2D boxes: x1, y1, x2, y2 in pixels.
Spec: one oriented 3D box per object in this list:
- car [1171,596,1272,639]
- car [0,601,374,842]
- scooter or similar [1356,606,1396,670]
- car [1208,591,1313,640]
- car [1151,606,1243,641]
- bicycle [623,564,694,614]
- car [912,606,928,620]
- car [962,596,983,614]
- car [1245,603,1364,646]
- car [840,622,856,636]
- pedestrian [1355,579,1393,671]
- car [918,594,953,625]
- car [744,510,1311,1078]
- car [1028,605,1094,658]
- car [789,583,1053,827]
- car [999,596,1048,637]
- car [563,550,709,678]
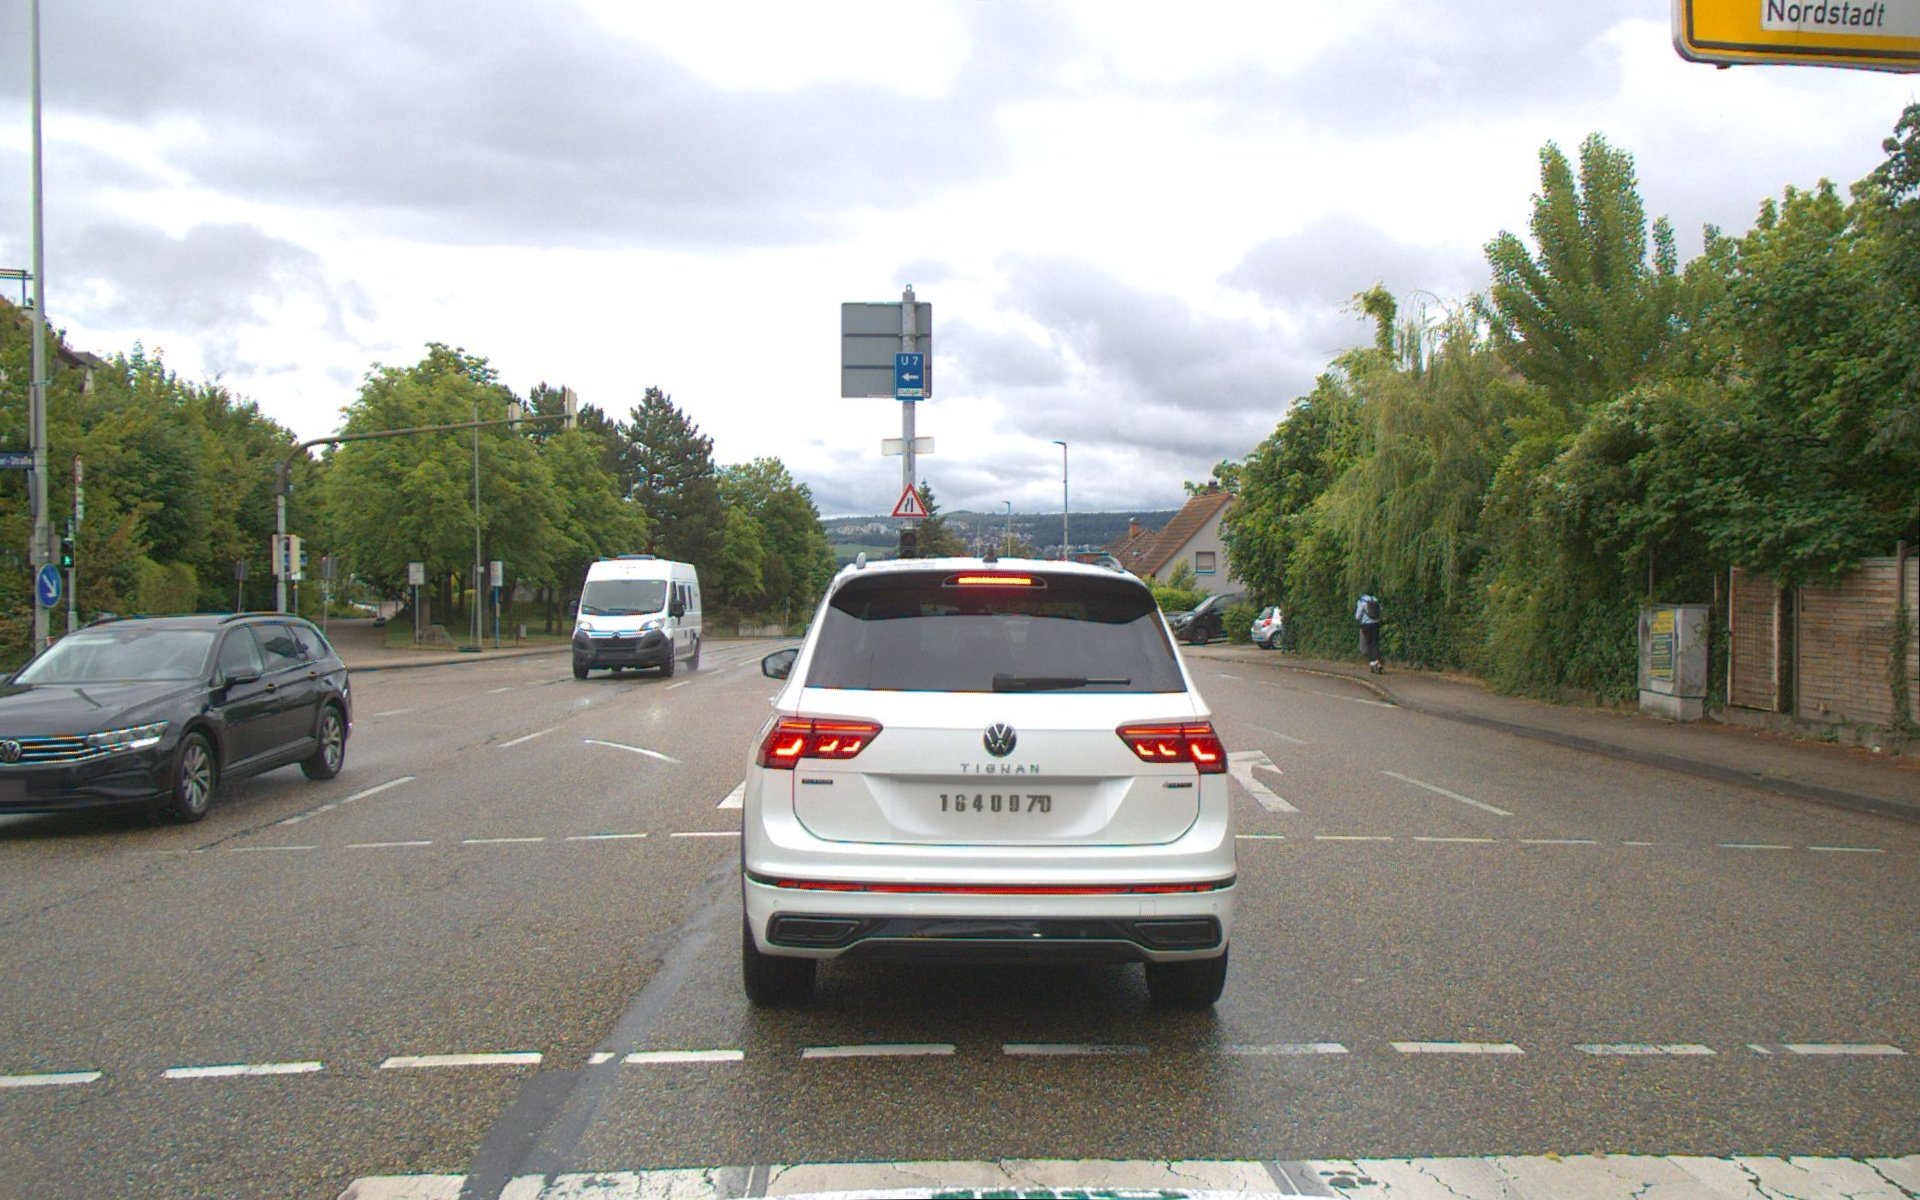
[{"bbox_3d":[10.174,0.675,64.476,3.556,1.654,1.789,0,0,-5],"label":"car"},{"bbox_3d":[-6.292,0.822,13.135,1.740,1.528,4.470,-3,0,-2],"label":"car"},{"bbox_3d":[9.305,0.834,37.018,0.452,1.385,1.383,0,0,-4],"label":"scooter or similar"},{"bbox_3d":[11.245,0.576,62.054,3.556,1.777,1.706,0,1,-5],"label":"car"},{"bbox_3d":[9.906,0.979,69.195,3.613,1.394,1.518,1,-2,-3],"label":"car"},{"bbox_3d":[-7.224,-0.268,39.647,1.603,1.145,0.468,-2,1,-3],"label":"bicycle"},{"bbox_3d":[-4.850,1.597,201.042,1.813,1.602,3.999,-1,0,-1],"label":"car"},{"bbox_3d":[1.093,0.422,145.744,1.813,1.602,3.999,-1,0,-1],"label":"car"},{"bbox_3d":[11.779,0.833,56.646,3.644,1.420,1.725,-1,-1,-8],"label":"car"},{"bbox_3d":[-15.876,4.094,234.103,1.953,1.758,3.999,2,0,-1],"label":"car"},{"bbox_3d":[9.276,0.548,37.088,0.642,2.037,0.717,0,0,-4],"label":"pedestrian"},{"bbox_3d":[-1.326,0.483,88.053,1.701,1.602,4.066,1,0,-3],"label":"car"},{"bbox_3d":[0.159,0.608,7.326,1.727,1.725,4.271,2,0,-2],"label":"car"},{"bbox_3d":[2.937,0.901,48.697,1.592,1.427,3.688,1,0,-2],"label":"car"},{"bbox_3d":[-0.275,0.705,13.107,1.762,1.617,3.926,1,0,0],"label":"car"},{"bbox_3d":[2.362,0.597,62.147,1.631,1.452,4.305,0,0,0],"label":"car"},{"bbox_3d":[-7.023,0.265,36.523,2.251,2.572,5.771,0,0,-2],"label":"car"}]
